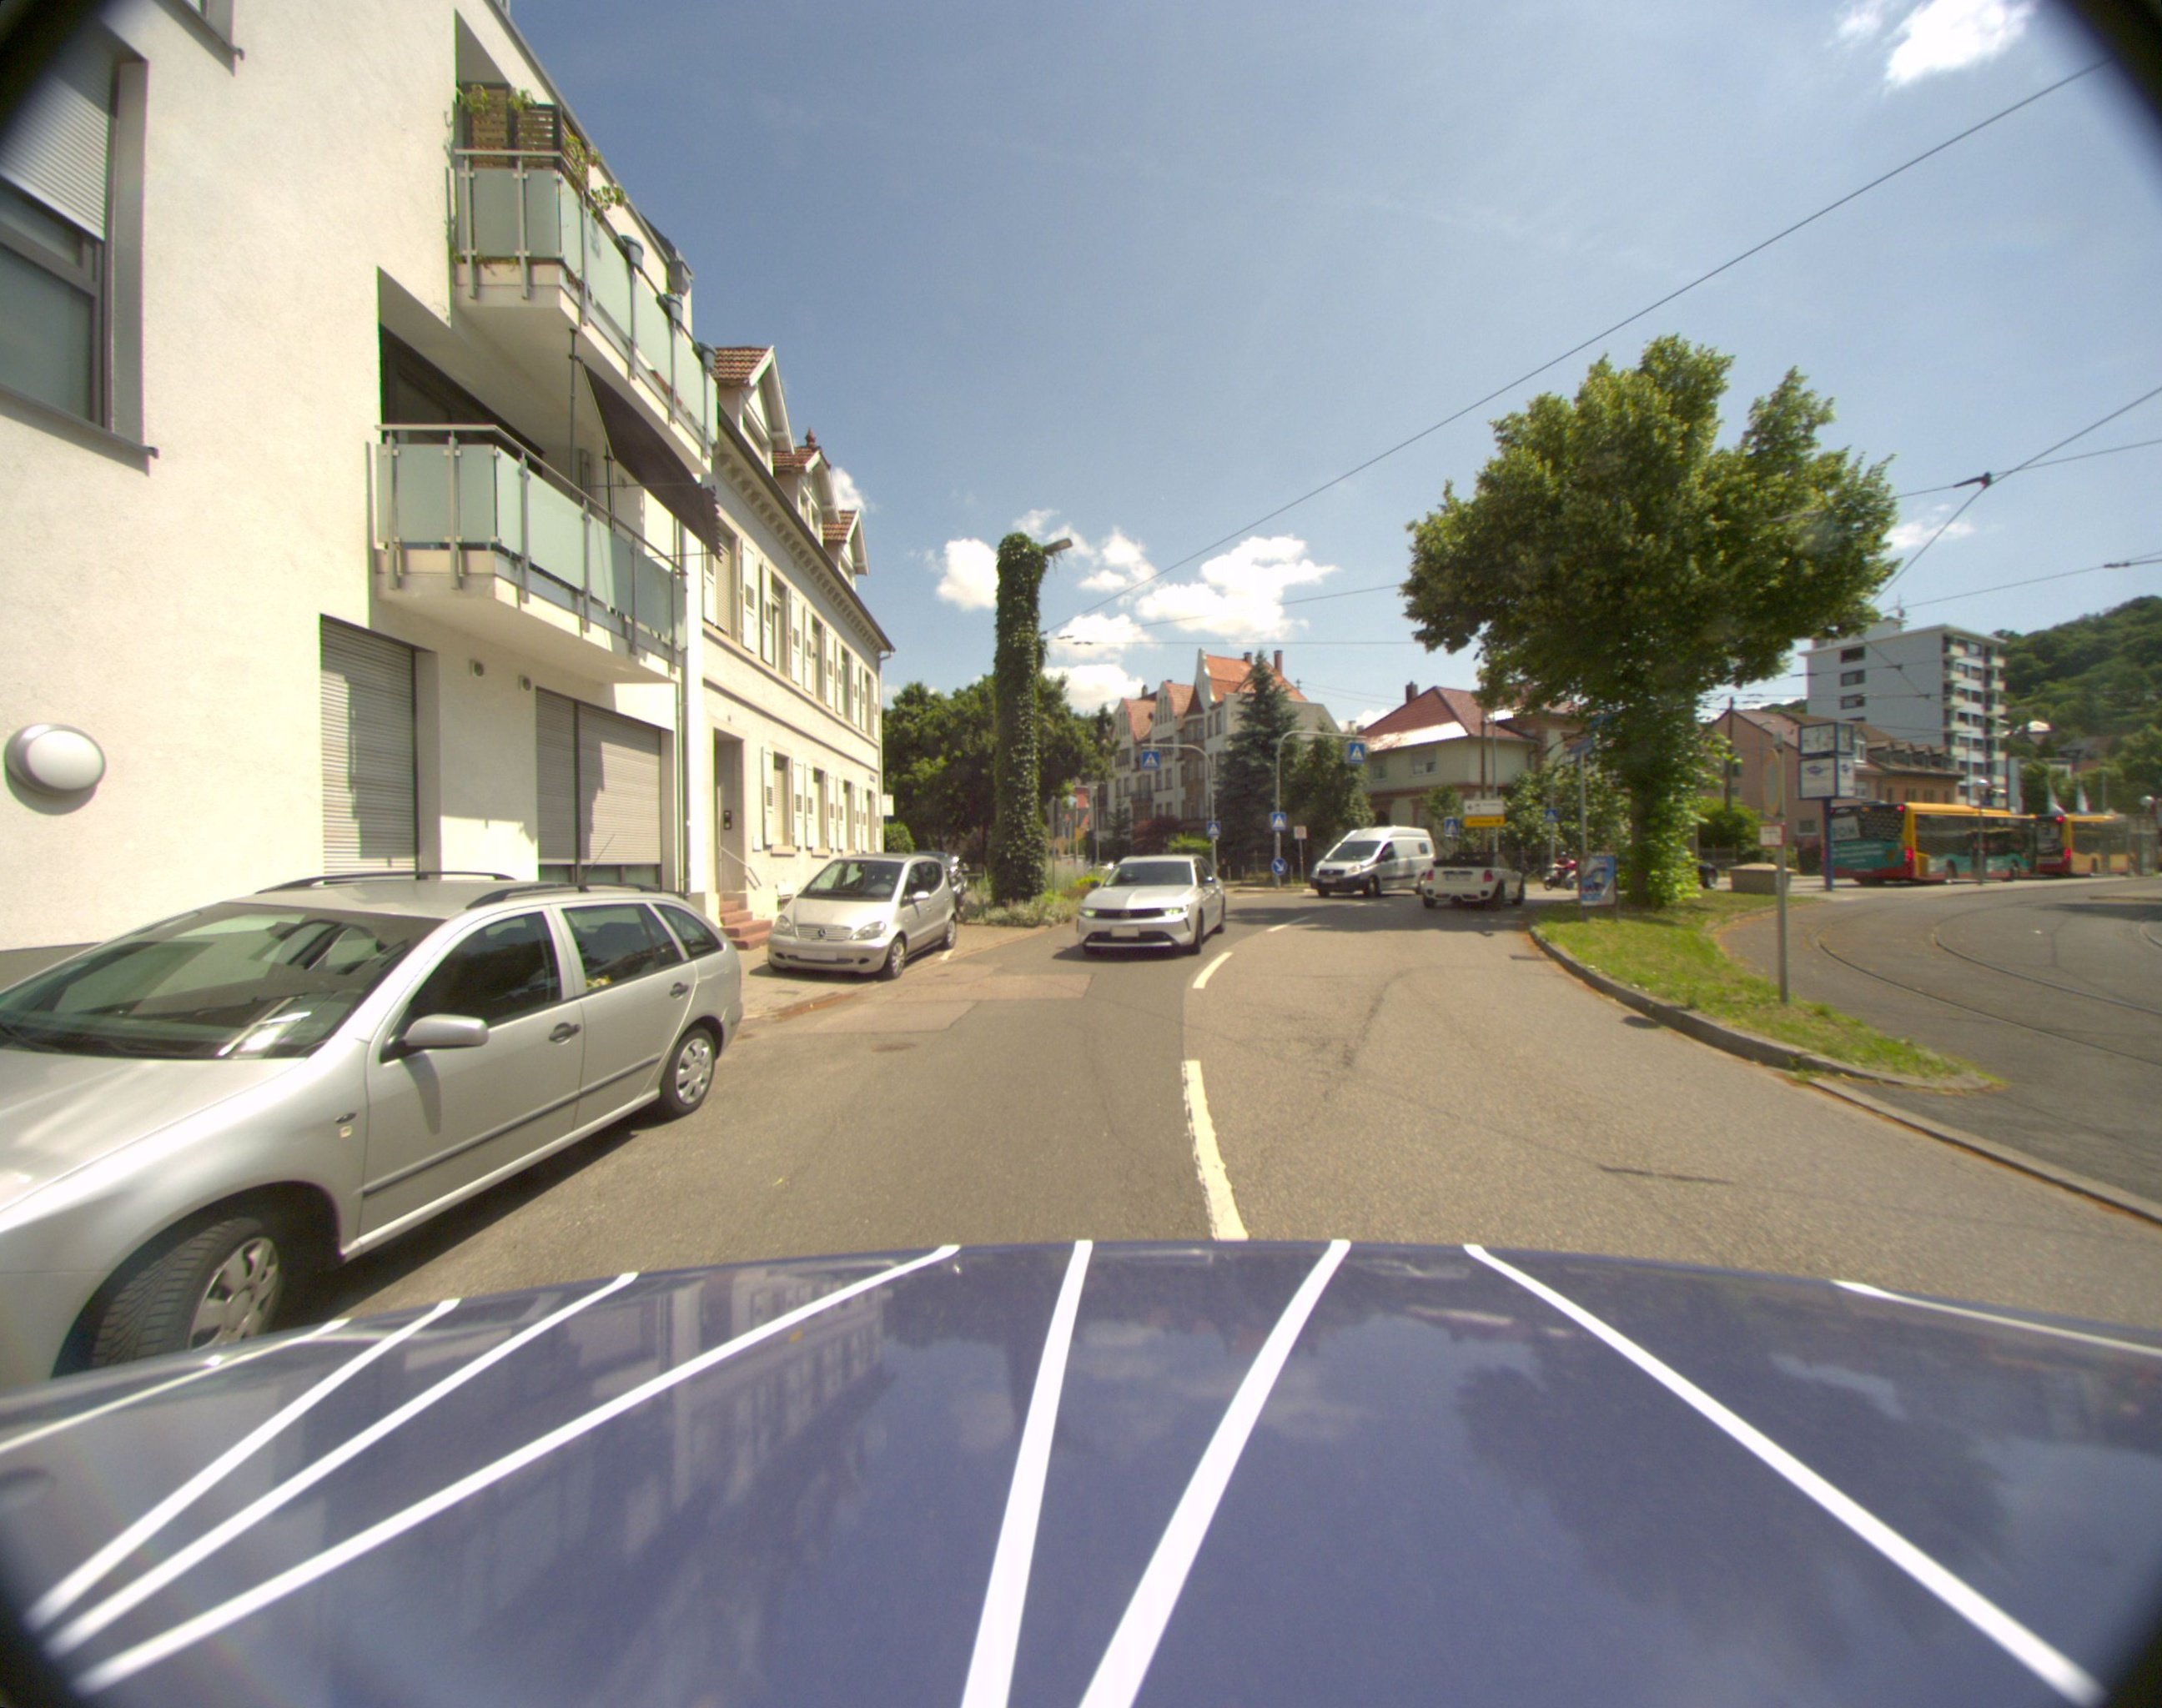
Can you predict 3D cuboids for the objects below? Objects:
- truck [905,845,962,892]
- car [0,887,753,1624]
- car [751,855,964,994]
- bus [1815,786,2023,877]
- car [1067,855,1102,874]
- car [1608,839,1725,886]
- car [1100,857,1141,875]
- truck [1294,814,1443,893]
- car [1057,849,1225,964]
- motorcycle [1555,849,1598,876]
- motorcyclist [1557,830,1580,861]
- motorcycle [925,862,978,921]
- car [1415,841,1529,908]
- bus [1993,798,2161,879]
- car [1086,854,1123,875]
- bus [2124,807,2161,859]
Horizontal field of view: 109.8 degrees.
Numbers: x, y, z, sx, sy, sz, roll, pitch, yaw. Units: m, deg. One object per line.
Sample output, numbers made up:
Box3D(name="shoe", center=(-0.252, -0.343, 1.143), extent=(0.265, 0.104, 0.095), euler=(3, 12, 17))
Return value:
Box3D(name="truck", center=(-6.616, 0.630, 33.723), extent=(1.917, 1.915, 5.274), euler=(0, -1, -17))
Box3D(name="car", center=(-3.242, 0.999, 3.264), extent=(1.730, 1.425, 4.043), euler=(2, 1, 3))
Box3D(name="car", center=(-3.061, 0.869, 11.262), extent=(1.730, 1.602, 3.801), euler=(1, 1, 5))
Box3D(name="bus", center=(34.233, -0.862, 30.900), extent=(10.873, 3.277, 2.703), euler=(-1, 0, -26))
Box3D(name="car", center=(0.245, 0.924, 66.896), extent=(1.777, 1.506, 3.993), euler=(4, -2, -19))
Box3D(name="car", center=(21.950, 0.288, 28.462), extent=(4.335, 1.622, 1.858), euler=(-1, 0, -28))
Box3D(name="car", center=(2.921, 0.923, 56.980), extent=(1.820, 1.318, 3.995), euler=(-1, -1, -17))
Box3D(name="truck", center=(9.245, -0.005, 24.217), extent=(5.418, 2.236, 2.016), euler=(0, -1, -40))
Box3D(name="car", center=(1.176, 0.708, 12.408), extent=(1.799, 1.458, 4.176), euler=(-2, 1, 17))
Box3D(name="motorcycle", center=(20.047, 0.327, 30.754), extent=(1.437, 1.051, 0.668), euler=(-1, 1, -15))
Box3D(name="motorcyclist", center=(19.621, -0.335, 30.566), extent=(0.555, 1.236, 0.540), euler=(-1, 1, -16))
Box3D(name="motorcycle", center=(-3.245, 0.902, 19.248), extent=(0.802, 1.344, 2.338), euler=(-1, 0, 3))
Box3D(name="car", center=(9.855, 0.431, 19.031), extent=(1.774, 1.456, 3.754), euler=(0, 2, 40))
Box3D(name="bus", center=(49.595, -0.777, 37.670), extent=(12.223, 3.586, 2.691), euler=(-1, 1, -25))
Box3D(name="car", center=(1.895, 0.834, 62.049), extent=(1.776, 1.506, 3.994), euler=(4, -2, -17))
Box3D(name="bus", center=(70.189, -1.351, 48.614), extent=(10.170, 3.170, 2.571), euler=(-1, 1, -28))
